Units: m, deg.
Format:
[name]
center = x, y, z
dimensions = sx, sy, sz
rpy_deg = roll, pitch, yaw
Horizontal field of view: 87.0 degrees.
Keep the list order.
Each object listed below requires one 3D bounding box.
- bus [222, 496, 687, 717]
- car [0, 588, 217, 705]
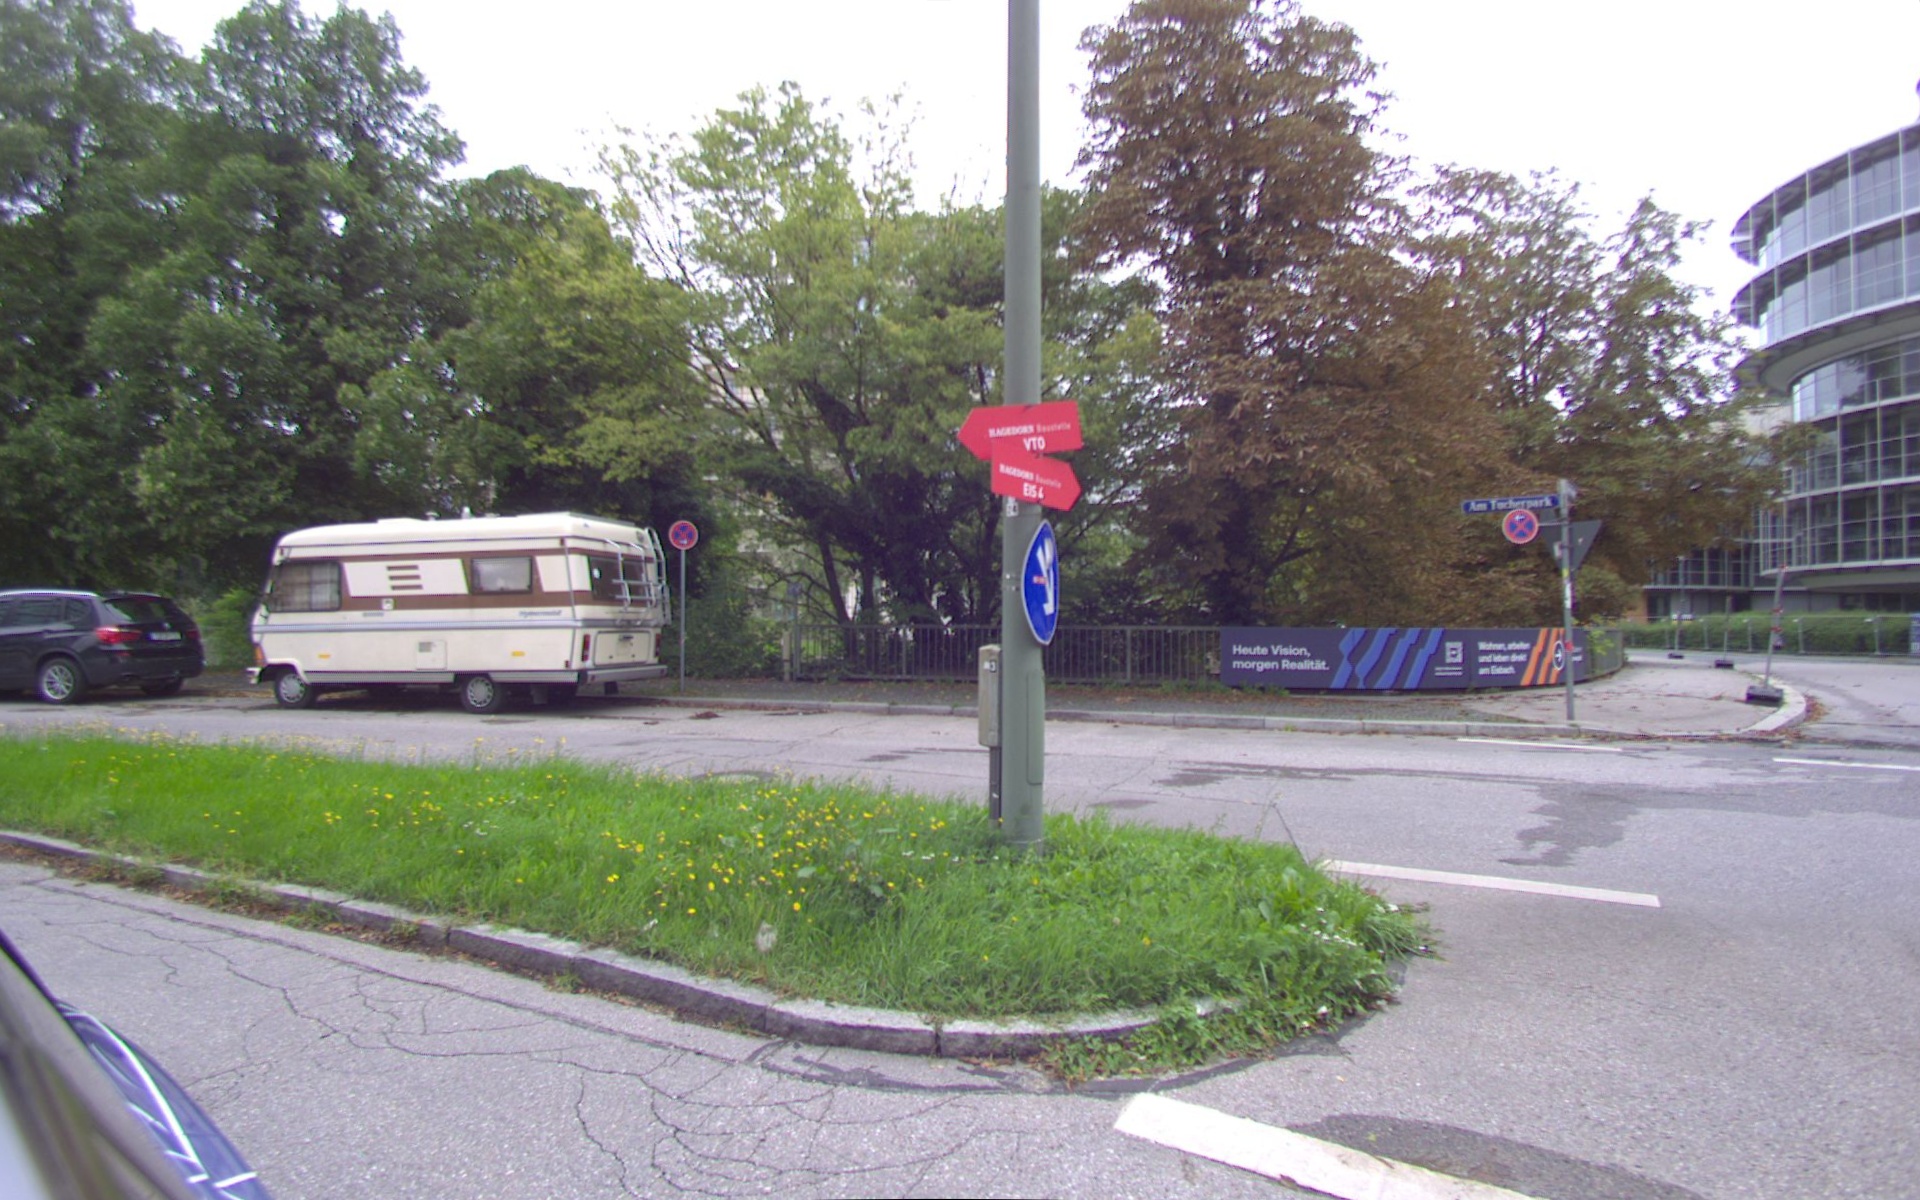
[bus]
center = -6.991, 0.114, 14.233
dimensions = 5.677, 2.719, 2.313
rpy_deg = 0, -2, 13
[car]
center = -14.141, 0.677, 15.474
dimensions = 4.404, 1.662, 1.779
rpy_deg = 0, -1, 5
